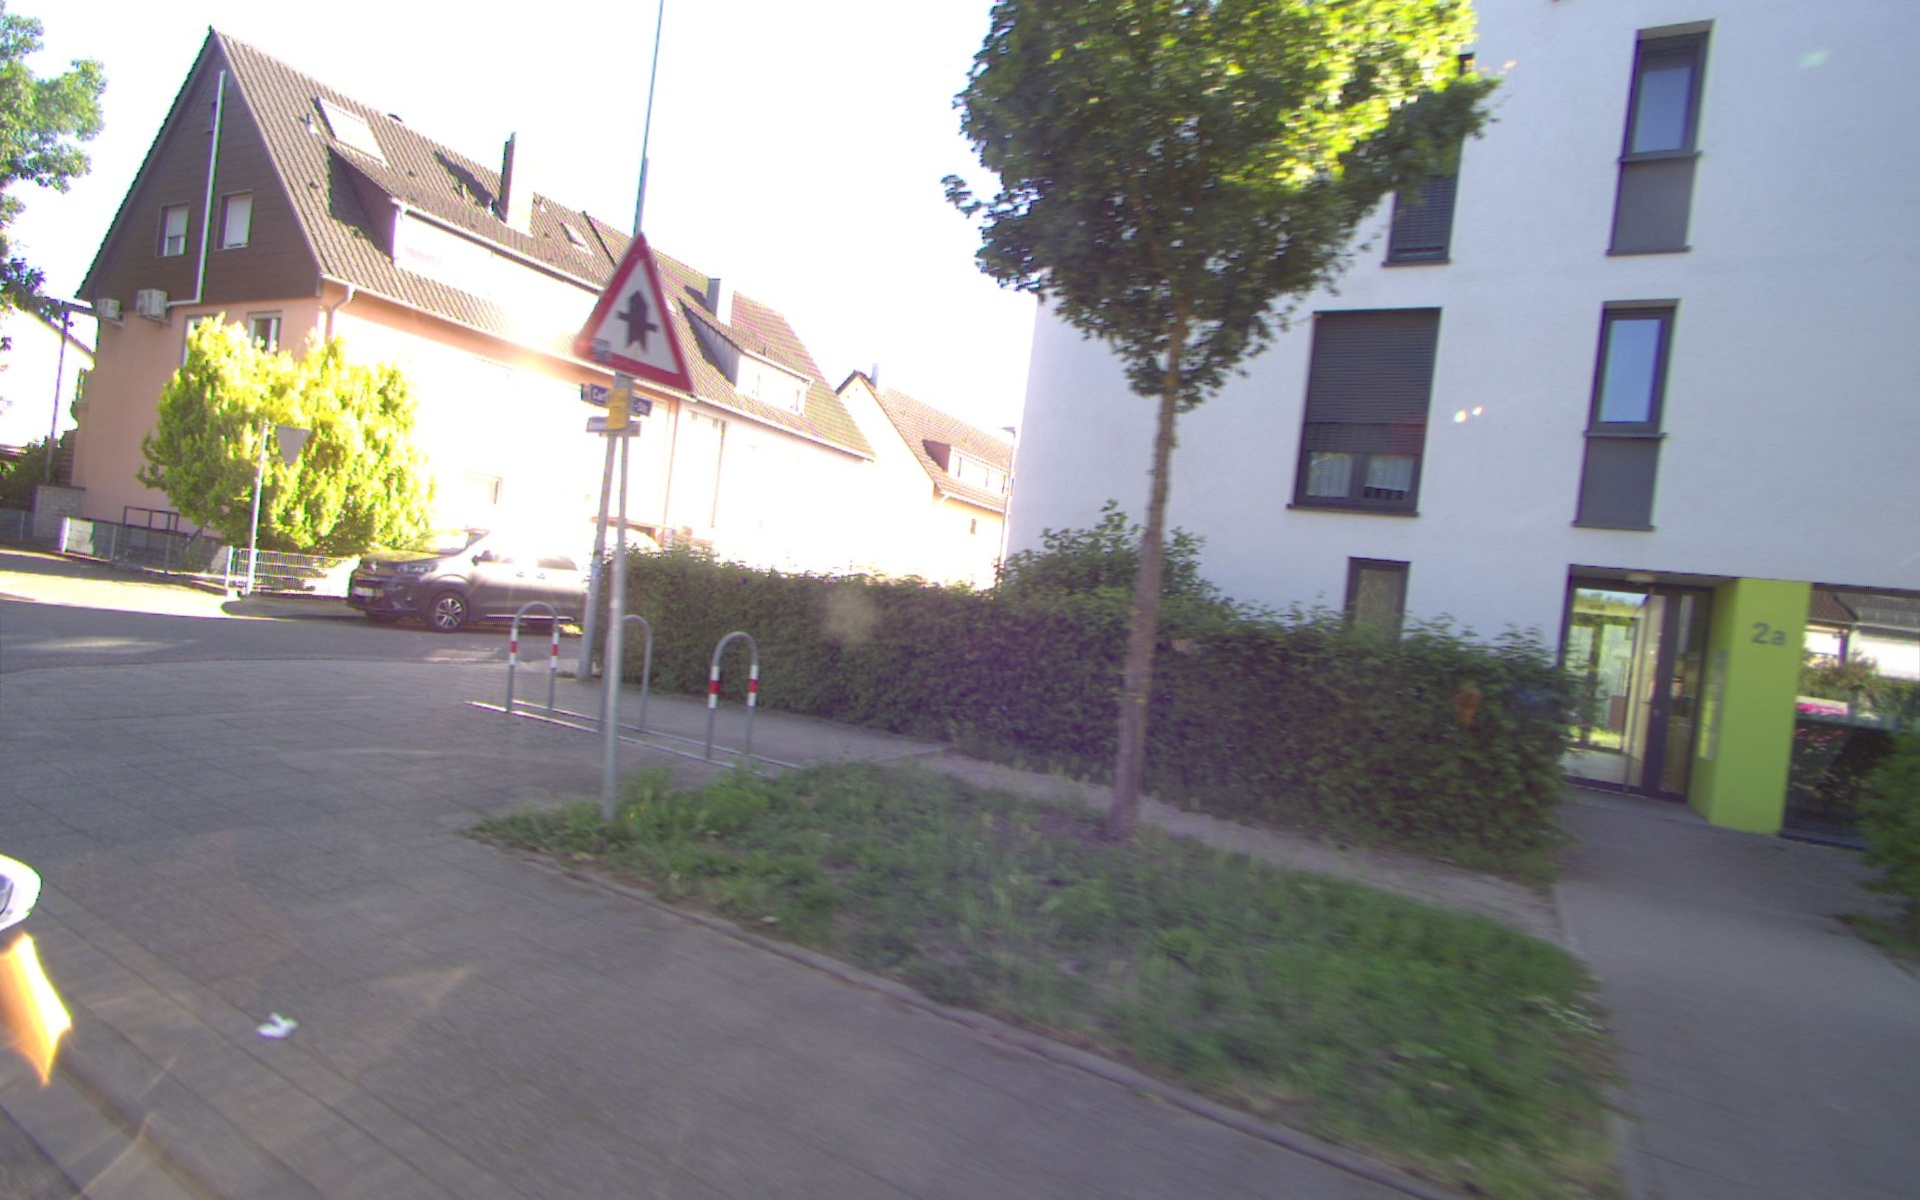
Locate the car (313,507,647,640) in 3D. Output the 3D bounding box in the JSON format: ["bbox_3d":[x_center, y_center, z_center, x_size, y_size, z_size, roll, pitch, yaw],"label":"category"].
[{"bbox_3d":[-8.487,-0.363,18.436,2.036,1.870,5.251,5,-1,27],"label":"car"}]
